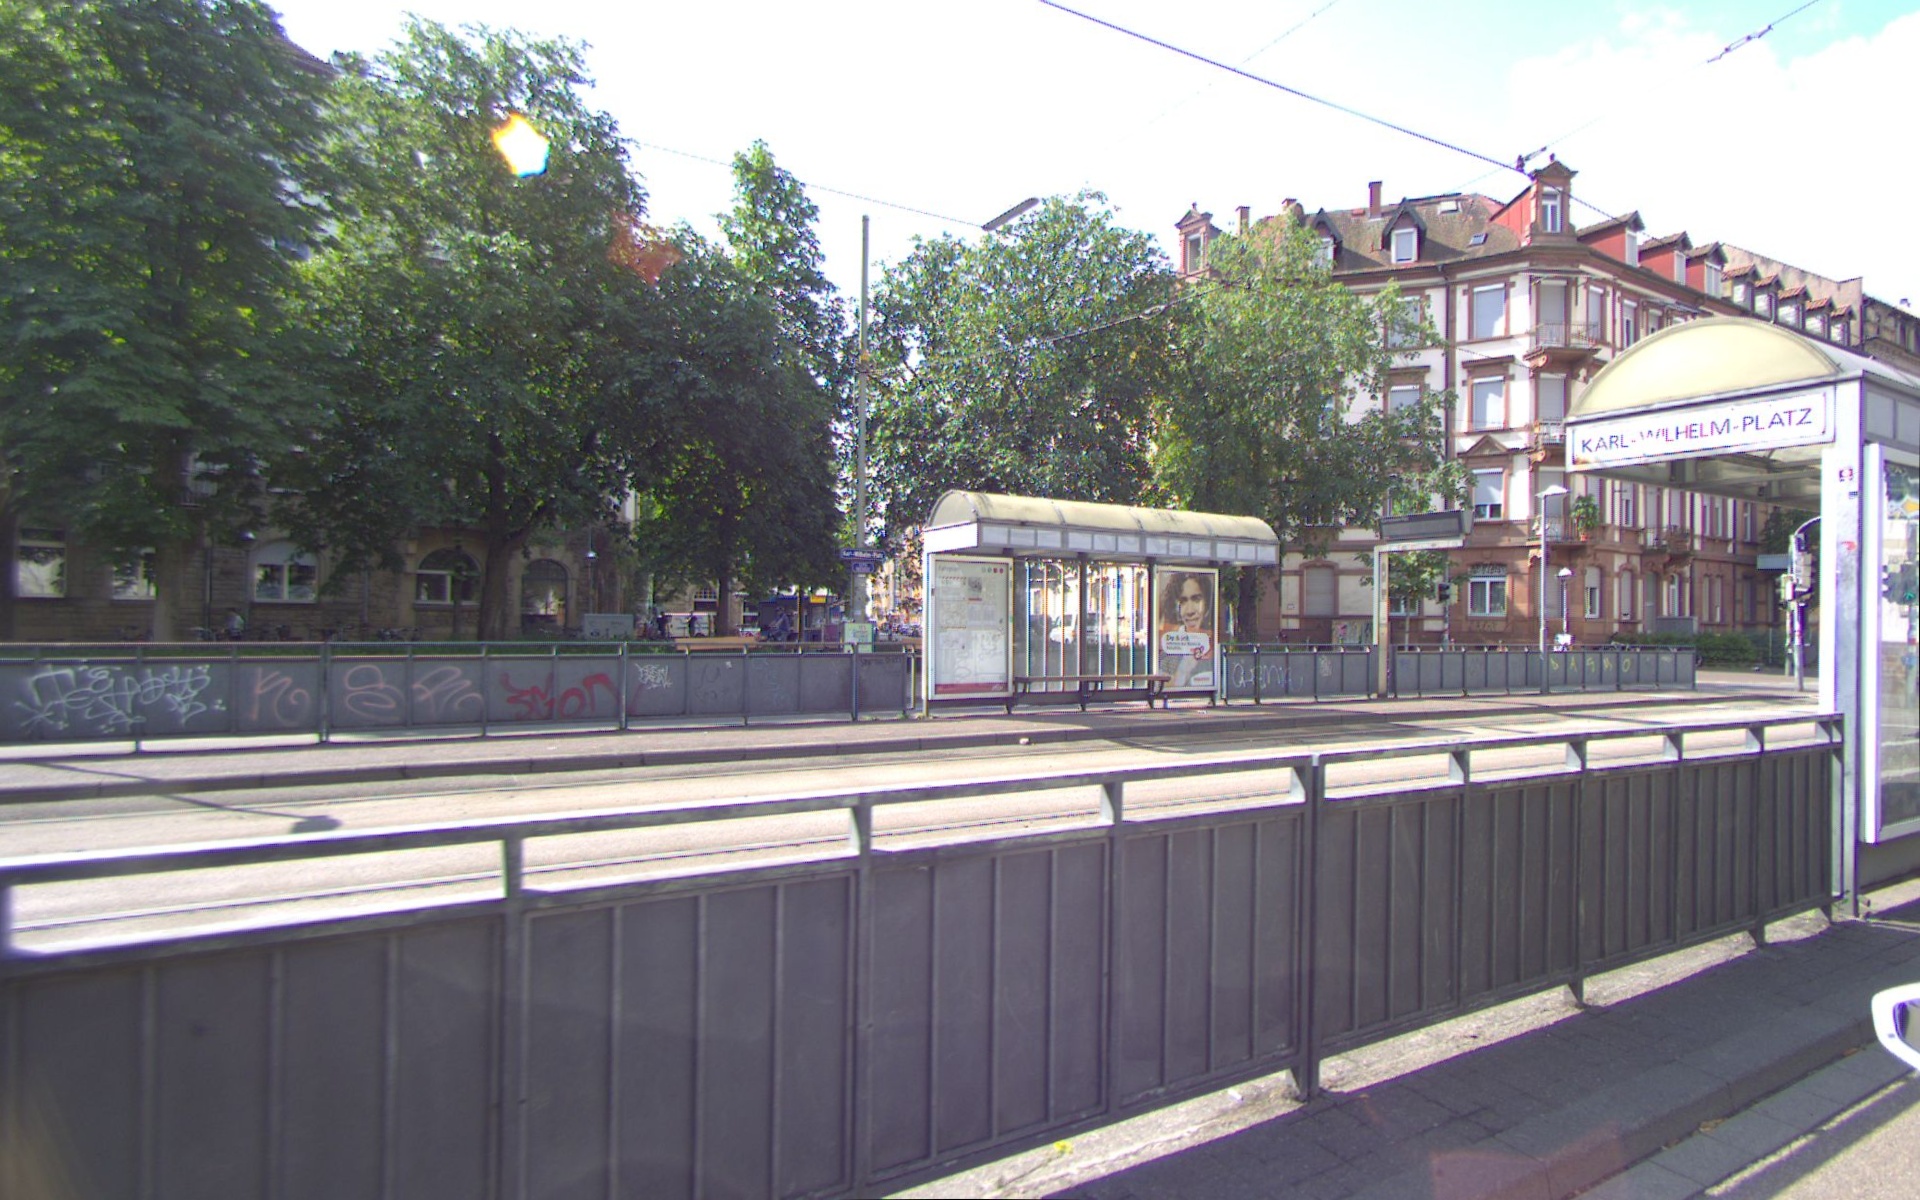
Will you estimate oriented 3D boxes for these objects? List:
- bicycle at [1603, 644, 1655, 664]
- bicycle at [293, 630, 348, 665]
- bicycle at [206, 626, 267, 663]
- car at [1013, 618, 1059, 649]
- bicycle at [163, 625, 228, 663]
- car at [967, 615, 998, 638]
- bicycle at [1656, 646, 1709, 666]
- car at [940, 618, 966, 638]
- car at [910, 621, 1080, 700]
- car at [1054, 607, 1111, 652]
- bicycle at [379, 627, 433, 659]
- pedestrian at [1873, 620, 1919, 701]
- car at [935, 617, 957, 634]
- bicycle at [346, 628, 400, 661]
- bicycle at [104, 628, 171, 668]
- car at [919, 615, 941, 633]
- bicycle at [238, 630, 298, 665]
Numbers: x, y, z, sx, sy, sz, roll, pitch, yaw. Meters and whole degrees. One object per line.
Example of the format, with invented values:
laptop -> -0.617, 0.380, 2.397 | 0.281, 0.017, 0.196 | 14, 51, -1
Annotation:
bicycle -> 25.899, 2.085, 38.905 | 1.676, 0.757, 0.386 | 1, -1, 6
bicycle -> -18.831, 1.384, 29.543 | 1.996, 0.910, 0.570 | 1, -1, 33
bicycle -> -19.964, 1.221, 27.710 | 1.995, 0.910, 0.571 | 2, -1, 30
car -> 4.300, 1.883, 57.104 | 1.881, 1.685, 3.937 | 1, -1, -7
bicycle -> -20.458, 1.166, 26.867 | 1.993, 0.910, 0.571 | 2, -1, 27
car -> 1.619, 1.901, 72.716 | 1.685, 1.576, 3.915 | 1, -1, -8
bicycle -> 27.852, 2.159, 38.714 | 1.676, 0.757, 0.386 | 1, -1, 6
car -> -0.650, 2.449, 88.868 | 1.861, 1.694, 3.785 | 1, -1, -8
car -> 0.892, 1.455, 24.886 | 3.953, 1.800, 1.672 | 1, -1, -30
car -> 5.702, 1.360, 47.240 | 1.821, 2.015, 3.944 | 1, -1, -6
bicycle -> -17.198, 1.327, 31.187 | 1.996, 0.910, 0.570 | 1, -1, 33
pedestrian -> 20.265, 1.284, 21.621 | 0.660, 1.697, 0.767 | 1, -1, -31
car -> -1.342, 2.398, 94.290 | 1.682, 1.524, 3.681 | 1, -1, -8
bicycle -> -17.876, 1.342, 30.588 | 1.996, 0.910, 0.570 | 1, -1, 33
bicycle -> -21.125, 1.220, 25.795 | 1.993, 0.910, 0.546 | 2, -1, 26
car -> -3.251, 2.632, 108.627 | 1.963, 1.884, 3.995 | 1, -1, -8
bicycle -> -19.575, 1.334, 28.410 | 1.995, 0.910, 0.571 | 2, -1, 30
